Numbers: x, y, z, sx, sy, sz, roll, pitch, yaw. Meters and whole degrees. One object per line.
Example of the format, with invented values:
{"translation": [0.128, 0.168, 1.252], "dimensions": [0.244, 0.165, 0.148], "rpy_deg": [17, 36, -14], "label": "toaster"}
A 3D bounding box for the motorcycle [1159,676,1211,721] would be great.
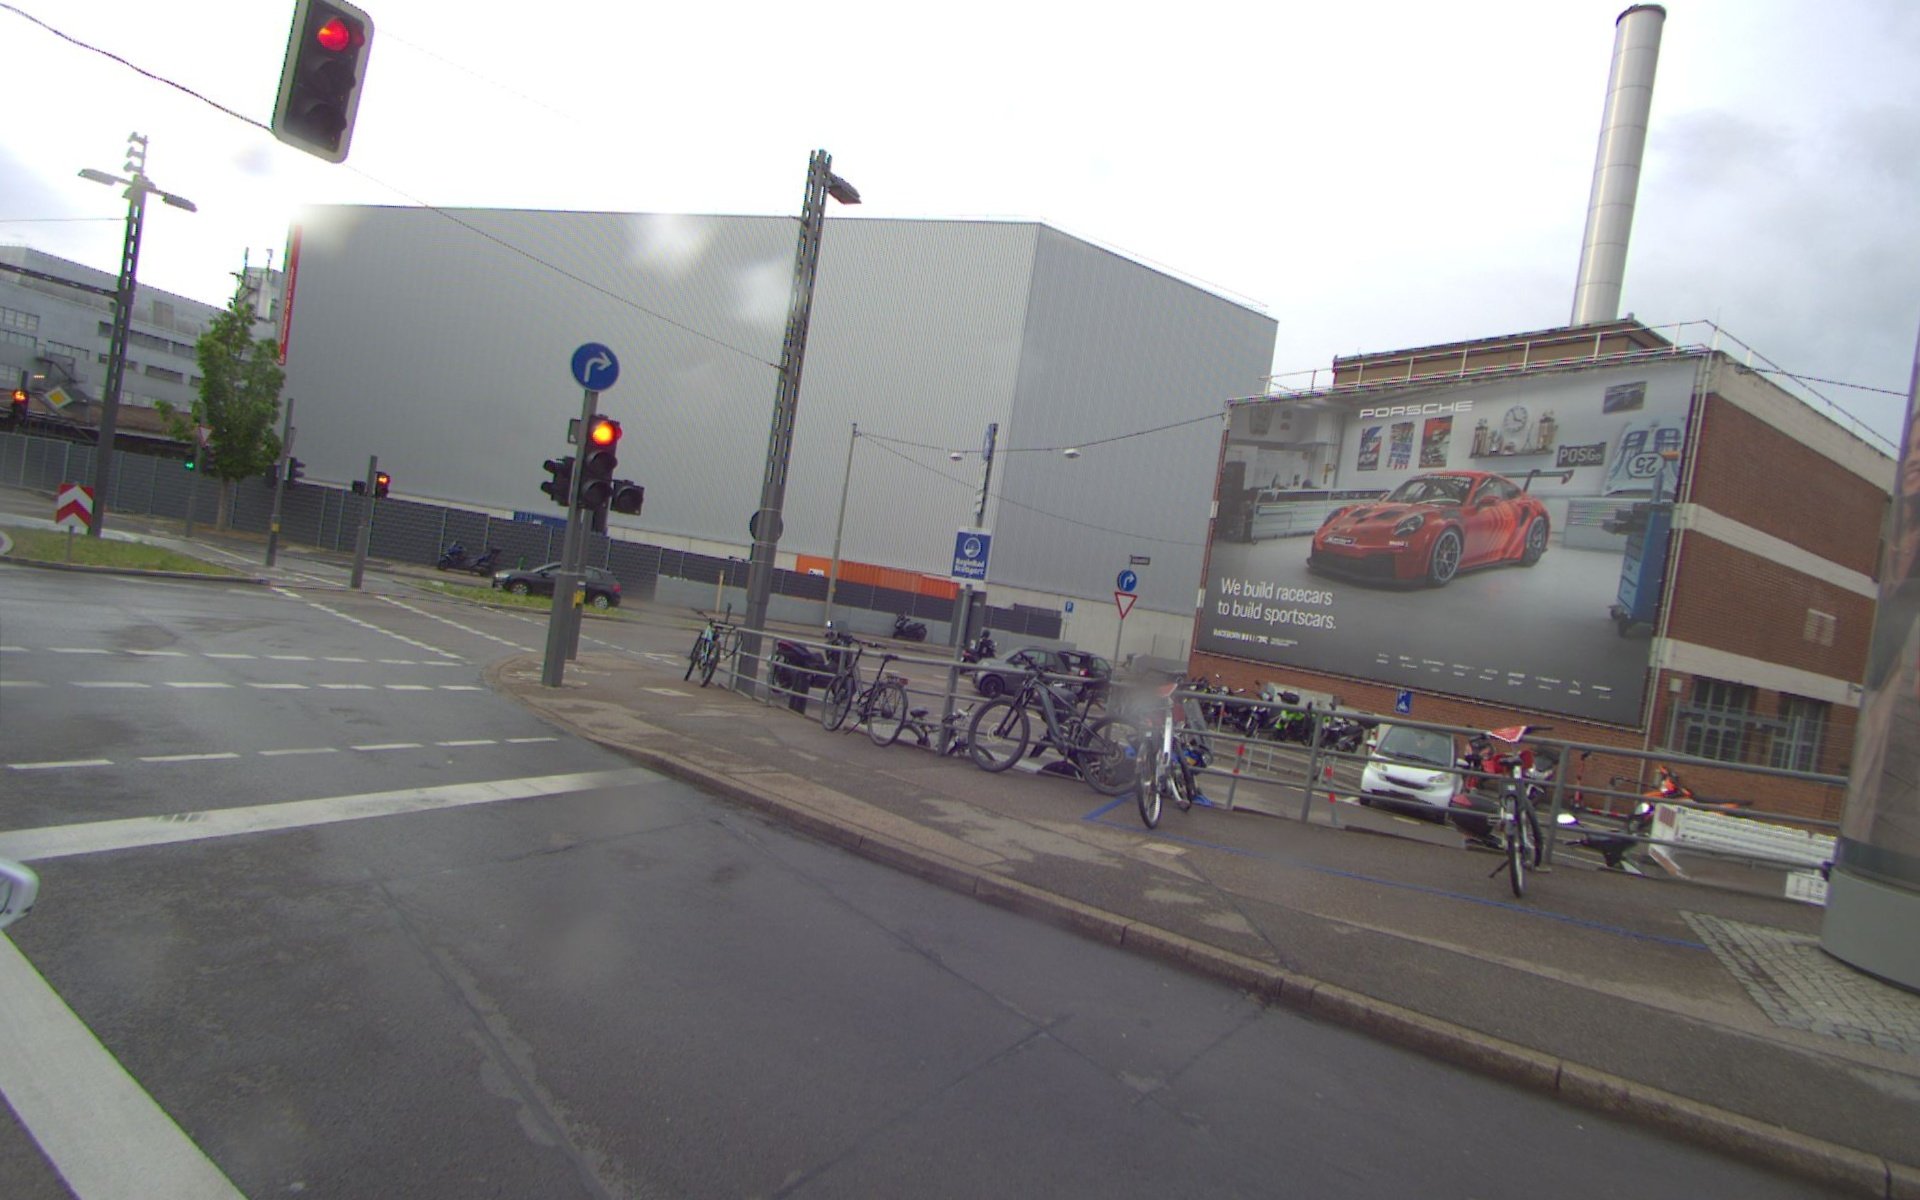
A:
{"translation": [6.644, 2.911, 29.831], "dimensions": [0.538, 1.133, 1.593], "rpy_deg": [8, -2, -25], "label": "motorcycle"}

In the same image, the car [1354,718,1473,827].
{"translation": [8.556, 3.103, 18.793], "dimensions": [1.541, 1.506, 3.996], "rpy_deg": [8, -1, 29], "label": "car"}

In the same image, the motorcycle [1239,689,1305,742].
{"translation": [8.160, 3.031, 26.291], "dimensions": [1.695, 1.194, 0.541], "rpy_deg": [8, -2, -30], "label": "motorcycle"}

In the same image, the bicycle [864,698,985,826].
{"translation": [-0.429, 1.754, 11.140], "dimensions": [0.344, 1.097, 1.728], "rpy_deg": [7, -1, -35], "label": "bicycle"}

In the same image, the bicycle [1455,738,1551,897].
{"translation": [4.046, 1.550, 7.450], "dimensions": [0.414, 0.933, 1.613], "rpy_deg": [8, 0, 32], "label": "bicycle"}

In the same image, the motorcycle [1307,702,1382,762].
{"translation": [9.314, 3.200, 24.346], "dimensions": [1.788, 1.253, 0.540], "rpy_deg": [8, 1, -30], "label": "motorcycle"}

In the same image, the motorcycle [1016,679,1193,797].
{"translation": [1.441, 1.378, 10.278], "dimensions": [1.722, 0.906, 0.545], "rpy_deg": [6, -1, 44], "label": "motorcycle"}

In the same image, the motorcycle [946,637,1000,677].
{"translation": [0.454, 1.967, 34.391], "dimensions": [0.444, 1.207, 2.259], "rpy_deg": [8, 0, 37], "label": "motorcycle"}

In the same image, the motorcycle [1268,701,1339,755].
{"translation": [8.539, 3.182, 24.988], "dimensions": [1.789, 1.132, 0.474], "rpy_deg": [8, -2, -28], "label": "motorcycle"}

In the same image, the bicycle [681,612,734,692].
{"translation": [-4.091, 0.801, 16.229], "dimensions": [0.416, 1.143, 2.064], "rpy_deg": [7, -2, -22], "label": "bicycle"}

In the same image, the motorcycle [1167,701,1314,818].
{"translation": [2.705, 1.515, 9.720], "dimensions": [1.241, 0.901, 0.434], "rpy_deg": [6, 0, 23], "label": "motorcycle"}

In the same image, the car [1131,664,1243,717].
{"translation": [8.325, 3.319, 36.815], "dimensions": [4.070, 1.460, 1.554], "rpy_deg": [9, -2, -35], "label": "car"}

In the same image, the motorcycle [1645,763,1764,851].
{"translation": [14.256, 3.941, 19.307], "dimensions": [1.639, 1.349, 0.524], "rpy_deg": [6, -1, 21], "label": "motorcycle"}

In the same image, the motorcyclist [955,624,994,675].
{"translation": [0.506, 1.696, 34.345], "dimensions": [0.660, 1.642, 1.031], "rpy_deg": [8, 1, 38], "label": "motorcyclist"}

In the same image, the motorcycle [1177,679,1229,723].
{"translation": [7.389, 3.062, 30.632], "dimensions": [0.538, 1.123, 1.639], "rpy_deg": [8, -2, -25], "label": "motorcycle"}

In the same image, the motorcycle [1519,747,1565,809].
{"translation": [12.355, 3.752, 21.333], "dimensions": [0.576, 1.165, 1.717], "rpy_deg": [6, -2, 36], "label": "motorcycle"}

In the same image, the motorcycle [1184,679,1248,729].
{"translation": [7.229, 2.934, 28.368], "dimensions": [1.631, 1.194, 0.670], "rpy_deg": [8, -2, -30], "label": "motorcycle"}

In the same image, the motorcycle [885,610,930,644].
{"translation": [-2.712, 1.399, 51.872], "dimensions": [2.082, 1.393, 0.649], "rpy_deg": [10, 0, -33], "label": "motorcycle"}

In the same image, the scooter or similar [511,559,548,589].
{"translation": [-17.789, -1.063, 41.588], "dimensions": [1.247, 1.041, 0.385], "rpy_deg": [9, 0, 0], "label": "scooter or similar"}

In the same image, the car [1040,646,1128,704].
{"translation": [4.138, 2.484, 33.258], "dimensions": [1.530, 1.510, 2.745], "rpy_deg": [11, 0, 37], "label": "car"}

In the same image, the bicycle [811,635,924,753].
{"translation": [-1.083, 1.028, 11.368], "dimensions": [0.344, 1.097, 1.728], "rpy_deg": [7, -1, -35], "label": "bicycle"}

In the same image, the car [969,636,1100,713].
{"translation": [1.979, 2.005, 27.389], "dimensions": [3.190, 1.521, 1.624], "rpy_deg": [9, 0, -4], "label": "car"}

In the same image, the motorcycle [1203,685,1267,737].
{"translation": [7.423, 2.996, 27.127], "dimensions": [1.631, 1.194, 0.541], "rpy_deg": [8, -2, -30], "label": "motorcycle"}

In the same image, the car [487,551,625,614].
{"translation": [-13.489, -0.578, 33.623], "dimensions": [3.958, 1.442, 1.707], "rpy_deg": [9, -1, -30], "label": "car"}

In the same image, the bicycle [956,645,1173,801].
{"translation": [0.971, 1.145, 9.717], "dimensions": [1.981, 1.189, 0.400], "rpy_deg": [6, 0, 30], "label": "bicycle"}

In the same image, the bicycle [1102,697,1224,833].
{"translation": [1.744, 1.328, 8.454], "dimensions": [0.414, 0.973, 1.744], "rpy_deg": [6, -1, 29], "label": "bicycle"}

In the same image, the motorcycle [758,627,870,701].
{"translation": [-2.629, 1.195, 18.355], "dimensions": [0.481, 1.158, 2.086], "rpy_deg": [6, -2, 41], "label": "motorcycle"}

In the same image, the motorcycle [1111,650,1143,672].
{"translation": [10.555, 3.821, 63.603], "dimensions": [0.622, 1.088, 1.906], "rpy_deg": [8, 0, -38], "label": "motorcycle"}

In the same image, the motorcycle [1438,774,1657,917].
{"translation": [5.059, 2.104, 8.749], "dimensions": [1.512, 0.901, 0.403], "rpy_deg": [6, 0, 19], "label": "motorcycle"}

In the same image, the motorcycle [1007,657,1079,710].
{"translation": [2.118, 2.132, 25.629], "dimensions": [1.702, 1.159, 0.492], "rpy_deg": [8, -2, -24], "label": "motorcycle"}

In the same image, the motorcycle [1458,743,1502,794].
{"translation": [11.397, 3.665, 22.029], "dimensions": [0.533, 0.984, 1.613], "rpy_deg": [6, -2, 36], "label": "motorcycle"}

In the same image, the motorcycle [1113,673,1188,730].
{"translation": [4.535, 2.416, 24.103], "dimensions": [0.539, 1.123, 1.850], "rpy_deg": [8, -2, -32], "label": "motorcycle"}

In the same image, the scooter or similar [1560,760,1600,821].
{"translation": [12.897, 3.934, 20.915], "dimensions": [0.496, 1.109, 1.635], "rpy_deg": [6, -2, 36], "label": "scooter or similar"}

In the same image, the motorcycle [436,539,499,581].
{"translation": [-19.820, -1.606, 40.503], "dimensions": [2.082, 1.326, 0.649], "rpy_deg": [10, 0, -33], "label": "motorcycle"}
